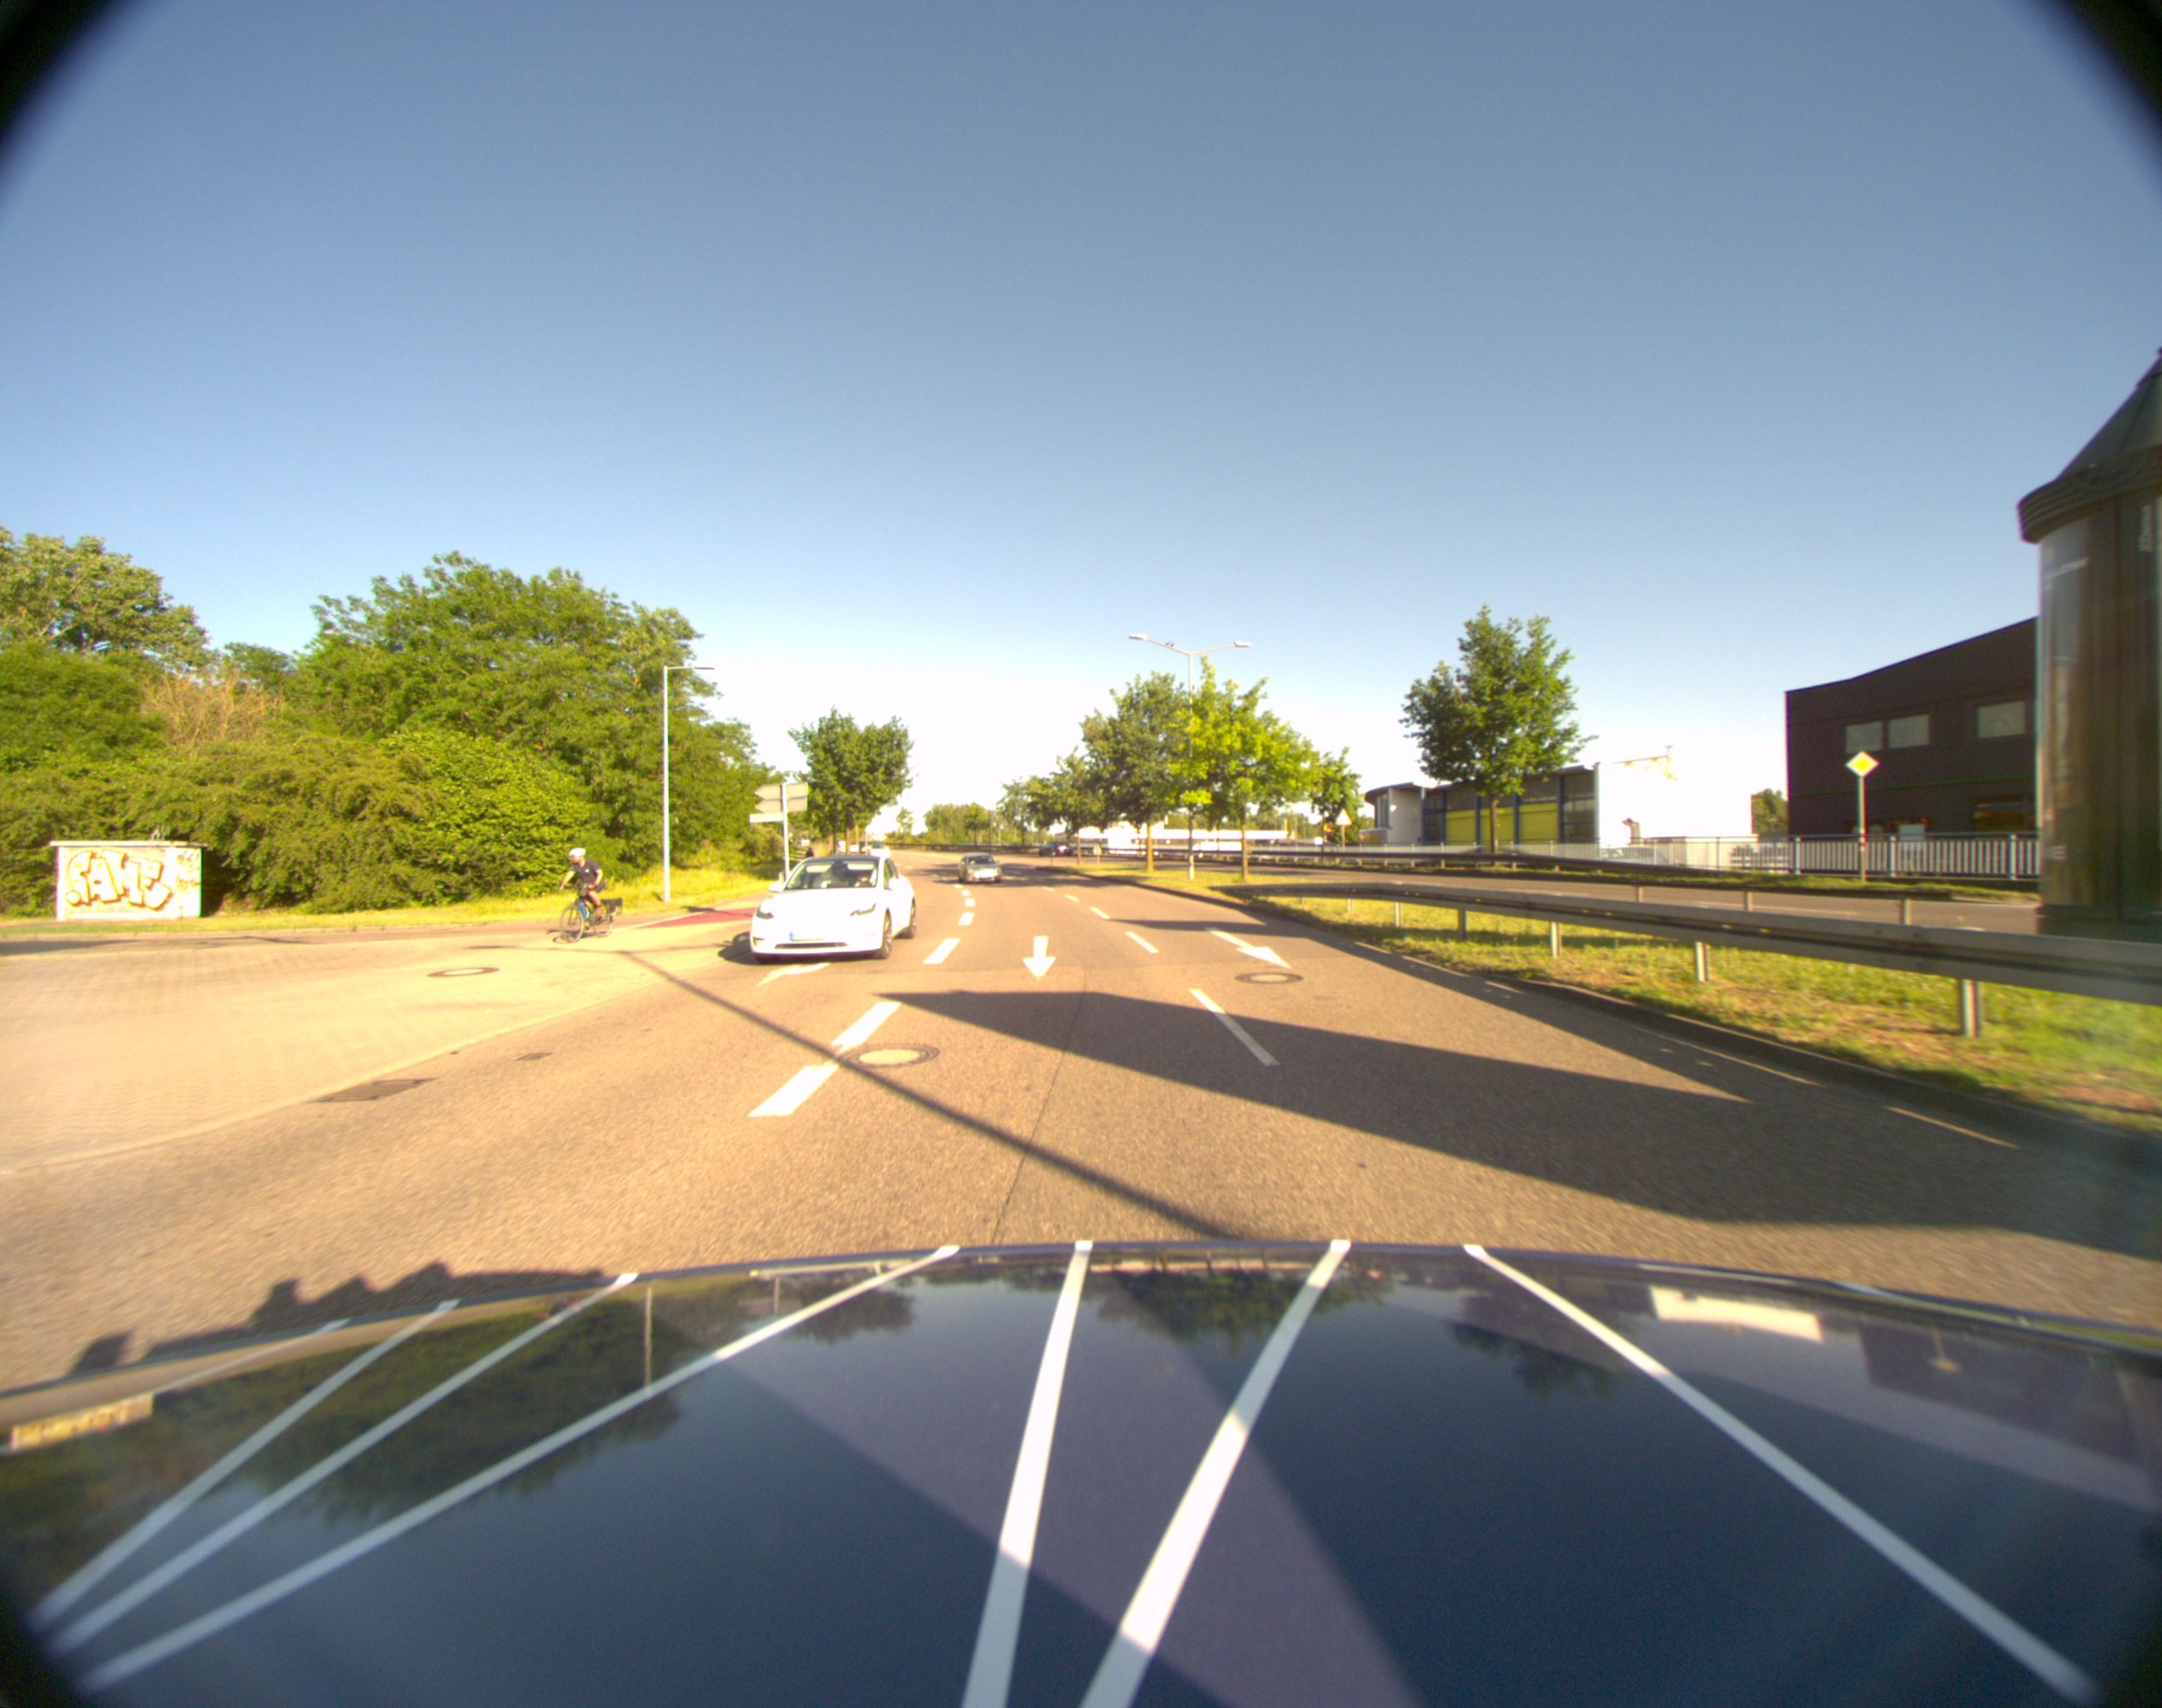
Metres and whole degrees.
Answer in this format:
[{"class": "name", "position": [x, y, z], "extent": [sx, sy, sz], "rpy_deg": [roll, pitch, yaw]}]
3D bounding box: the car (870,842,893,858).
[{"class": "car", "position": [-20.846, -0.417, 79.225], "extent": [2.153, 1.558, 4.191], "rpy_deg": [2, 0, -17]}]

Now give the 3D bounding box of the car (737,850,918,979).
[{"class": "car", "position": [-3.992, 0.832, 12.799], "extent": [1.920, 1.632, 4.406], "rpy_deg": [-1, 2, -6]}]

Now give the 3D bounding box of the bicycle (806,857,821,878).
[{"class": "bicycle", "position": [-14.536, 0.738, 41.272], "extent": [0.704, 1.068, 1.917], "rpy_deg": [1, 1, -20]}]

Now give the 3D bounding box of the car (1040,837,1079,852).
[{"class": "car", "position": [-2.094, -0.927, 71.550], "extent": [1.808, 1.303, 4.604], "rpy_deg": [-2, 2, -27]}]

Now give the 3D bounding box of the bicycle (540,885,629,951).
[{"class": "bicycle", "position": [-9.702, 1.221, 14.949], "extent": [0.697, 1.089, 2.115], "rpy_deg": [1, 1, -11]}]

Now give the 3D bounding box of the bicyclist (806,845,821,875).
[{"class": "bicyclist", "position": [-14.530, 0.333, 41.264], "extent": [0.710, 1.569, 1.002], "rpy_deg": [1, 1, -20]}]

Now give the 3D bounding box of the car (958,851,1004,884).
[{"class": "car", "position": [-5.027, 0.627, 37.885], "extent": [1.685, 1.433, 3.852], "rpy_deg": [-3, 1, -16]}]

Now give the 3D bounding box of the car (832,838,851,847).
[{"class": "car", "position": [-41.402, -2.000, 131.166], "extent": [1.738, 1.378, 4.483], "rpy_deg": [-3, 3, -36]}]

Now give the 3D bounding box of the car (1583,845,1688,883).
[{"class": "car", "position": [24.741, 0.465, 34.049], "extent": [3.480, 1.558, 1.615], "rpy_deg": [-1, 2, 20]}]

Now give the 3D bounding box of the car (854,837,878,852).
[{"class": "car", "position": [-26.782, -1.160, 94.391], "extent": [2.003, 1.707, 4.262], "rpy_deg": [-2, 1, -27]}]

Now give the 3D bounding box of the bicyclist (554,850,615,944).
[{"class": "bicyclist", "position": [-9.709, 0.813, 14.882], "extent": [0.677, 1.766, 0.947], "rpy_deg": [1, 1, -11]}]

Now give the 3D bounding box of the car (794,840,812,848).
[{"class": "car", "position": [-50.698, -1.808, 138.643], "extent": [1.771, 1.481, 4.264], "rpy_deg": [-3, 3, -38]}]
